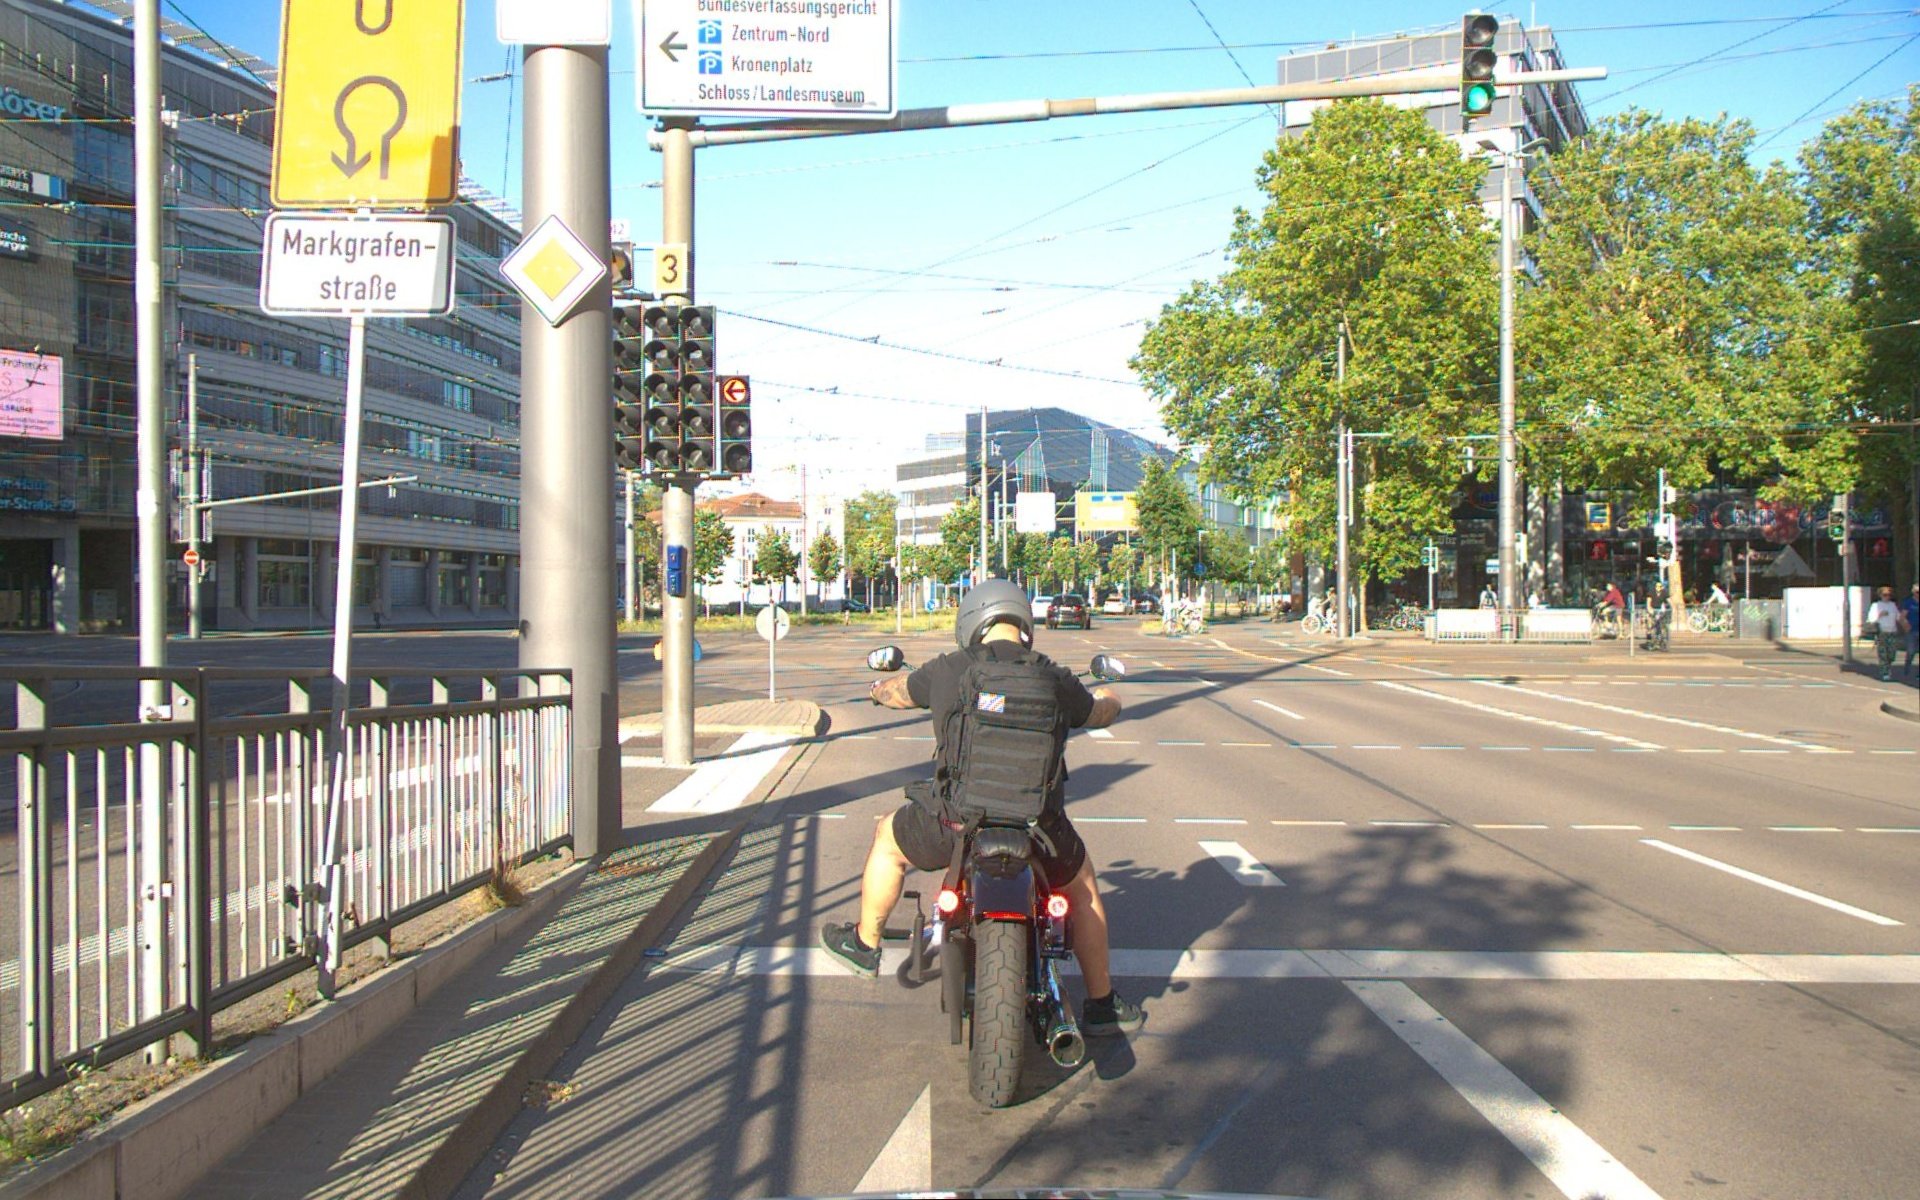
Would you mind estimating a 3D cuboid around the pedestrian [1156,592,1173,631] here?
[{"bbox_3d":[8.577,0.486,69.236,0.576,1.584,0.488,1,-1,-9],"label":"pedestrian"}]

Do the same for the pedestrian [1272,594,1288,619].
[{"bbox_3d":[17.577,0.364,90.914,0.802,1.337,0.638,1,-1,8],"label":"pedestrian"}]

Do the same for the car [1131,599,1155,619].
[{"bbox_3d":[16.261,0.840,147.044,1.765,1.708,4.044,1,-1,11],"label":"car"}]

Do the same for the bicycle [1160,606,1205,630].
[{"bbox_3d":[9.033,0.718,67.201,1.792,0.942,0.357,1,-1,-9],"label":"bicycle"}]

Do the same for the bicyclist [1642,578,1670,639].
[{"bbox_3d":[17.955,0.221,42.665,0.553,1.545,0.634,1,-1,14],"label":"bicyclist"}]

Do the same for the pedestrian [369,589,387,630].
[{"bbox_3d":[-29.636,0.490,84.240,0.617,2.049,0.754,1,-1,-1],"label":"pedestrian"}]

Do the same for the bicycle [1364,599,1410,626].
[{"bbox_3d":[18.004,0.525,69.765,1.842,1.064,0.360,1,0,-2],"label":"bicycle"}]

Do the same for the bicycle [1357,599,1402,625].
[{"bbox_3d":[17.984,0.526,70.916,1.842,1.064,0.360,1,0,-2],"label":"bicycle"}]

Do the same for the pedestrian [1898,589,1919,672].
[{"bbox_3d":[17.562,0.556,30.282,0.554,1.505,0.702,1,-1,20],"label":"pedestrian"}]

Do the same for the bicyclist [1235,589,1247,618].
[{"bbox_3d":[17.859,0.214,105.096,0.682,1.840,0.729,1,-1,3],"label":"bicyclist"}]

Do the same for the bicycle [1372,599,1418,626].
[{"bbox_3d":[18.211,0.532,69.271,1.842,1.064,0.360,1,0,-2],"label":"bicycle"}]

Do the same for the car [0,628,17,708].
[{"bbox_3d":[-14.527,0.904,22.424,2.835,1.081,1.235,1,-1,-22],"label":"car"}]

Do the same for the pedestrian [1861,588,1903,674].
[{"bbox_3d":[16.933,0.566,30.397,0.554,1.559,0.702,1,-1,20],"label":"pedestrian"}]

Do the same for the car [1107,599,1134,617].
[{"bbox_3d":[13.253,0.654,136.168,1.765,1.455,4.457,0,0,12],"label":"car"}]

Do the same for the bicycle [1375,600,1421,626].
[{"bbox_3d":[18.218,0.539,68.785,1.842,1.065,0.360,1,-1,-2],"label":"bicycle"}]

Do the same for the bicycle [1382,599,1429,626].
[{"bbox_3d":[18.206,0.517,67.596,1.842,1.065,0.360,1,-1,-2],"label":"bicycle"}]

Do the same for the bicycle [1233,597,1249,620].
[{"bbox_3d":[17.835,0.561,105.009,0.710,1.391,2.918,1,-1,3],"label":"bicycle"}]

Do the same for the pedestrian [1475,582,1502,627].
[{"bbox_3d":[20.642,0.167,64.610,0.816,1.734,0.759,1,-1,-1],"label":"pedestrian"}]

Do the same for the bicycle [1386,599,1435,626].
[{"bbox_3d":[18.189,0.496,66.781,1.842,1.065,0.360,1,-1,-2],"label":"bicycle"}]

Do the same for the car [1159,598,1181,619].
[{"bbox_3d":[19.889,0.795,156.490,1.692,1.870,3.578,1,-1,12],"label":"car"}]

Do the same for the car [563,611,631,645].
[{"bbox_3d":[-17.165,1.312,78.390,1.712,1.550,4.003,1,-1,11],"label":"car"}]

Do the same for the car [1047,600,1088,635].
[{"bbox_3d":[5.134,0.809,78.468,1.765,1.623,4.456,0,0,6],"label":"car"}]

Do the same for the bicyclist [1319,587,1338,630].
[{"bbox_3d":[14.573,0.346,65.400,0.673,1.702,0.541,0,-1,18],"label":"bicyclist"}]

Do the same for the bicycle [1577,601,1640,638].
[{"bbox_3d":[22.326,0.681,56.920,2.001,1.235,0.421,1,-1,-1],"label":"bicycle"}]

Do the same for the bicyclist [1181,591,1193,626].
[{"bbox_3d":[9.231,0.355,67.228,0.374,1.397,0.344,1,-1,-9],"label":"bicyclist"}]

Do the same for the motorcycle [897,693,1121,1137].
[{"bbox_3d":[0.117,0.917,5.596,0.588,1.054,2.233,1,0,-1],"label":"motorcycle"}]

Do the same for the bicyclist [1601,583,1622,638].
[{"bbox_3d":[22.420,0.368,56.924,0.572,1.870,0.402,1,-1,-1],"label":"bicyclist"}]

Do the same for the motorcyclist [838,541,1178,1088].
[{"bbox_3d":[0.137,0.635,5.364,1.009,1.621,0.873,0,0,-1],"label":"motorcyclist"}]

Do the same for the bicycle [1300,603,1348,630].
[{"bbox_3d":[14.408,0.668,65.451,1.831,1.062,0.537,0,-1,18],"label":"bicycle"}]

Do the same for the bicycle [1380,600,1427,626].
[{"bbox_3d":[18.280,0.535,68.155,1.842,1.064,0.360,1,0,-2],"label":"bicycle"}]

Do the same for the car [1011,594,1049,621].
[{"bbox_3d":[3.818,0.390,89.770,1.765,1.455,4.456,0,0,6],"label":"car"}]

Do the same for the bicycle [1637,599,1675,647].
[{"bbox_3d":[17.943,0.594,42.662,0.554,1.199,2.331,1,-1,14],"label":"bicycle"}]

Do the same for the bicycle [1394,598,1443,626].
[{"bbox_3d":[18.286,0.478,66.002,1.842,1.065,0.360,1,-1,-2],"label":"bicycle"}]
